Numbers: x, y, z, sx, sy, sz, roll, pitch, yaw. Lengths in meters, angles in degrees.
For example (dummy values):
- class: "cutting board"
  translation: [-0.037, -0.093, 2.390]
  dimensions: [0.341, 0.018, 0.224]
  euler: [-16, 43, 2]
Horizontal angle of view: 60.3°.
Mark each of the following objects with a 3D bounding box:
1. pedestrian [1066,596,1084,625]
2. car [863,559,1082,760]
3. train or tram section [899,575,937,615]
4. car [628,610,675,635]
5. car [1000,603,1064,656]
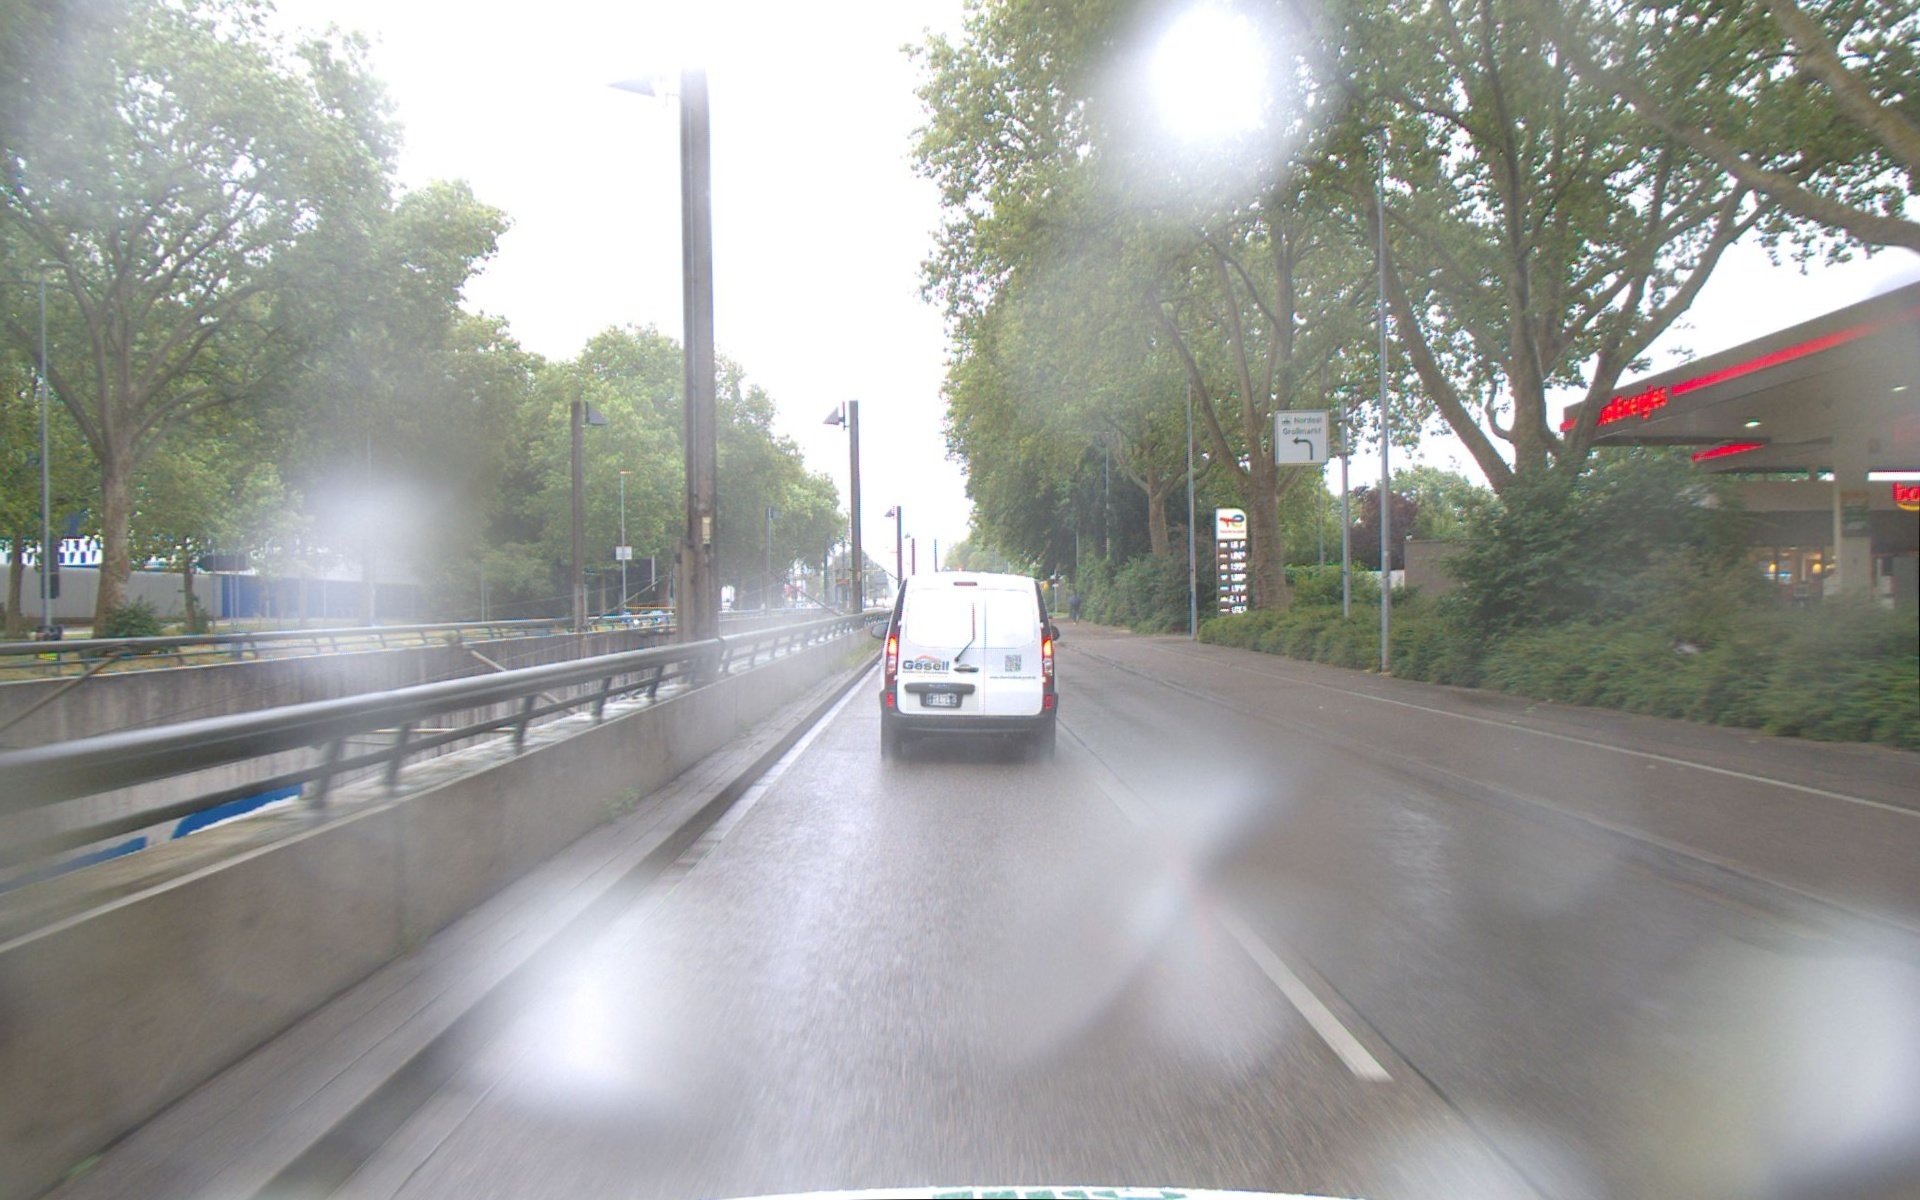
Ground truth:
- class: "pedestrian"
  translation: [6.747, 0.619, 97.192]
  dimensions: [0.947, 1.732, 1.141]
  euler: [0, 0, 0]
- class: "car"
  translation: [0.085, 0.554, 17.318]
  dimensions: [1.984, 1.806, 4.273]
  euler: [1, 0, -1]
- class: "train or tram section"
  translation: [-4.524, -0.497, 185.522]
  dimensions: [3.693, 4.107, 27.089]
  euler: [1, 0, 0]
- class: "car"
  translation: [-19.130, 1.384, 102.664]
  dimensions: [1.951, 1.428, 3.796]
  euler: [-1, 0, 4]
- class: "car"
  translation: [2.515, 1.002, 58.584]
  dimensions: [1.953, 1.780, 3.999]
  euler: [1, 0, -2]
